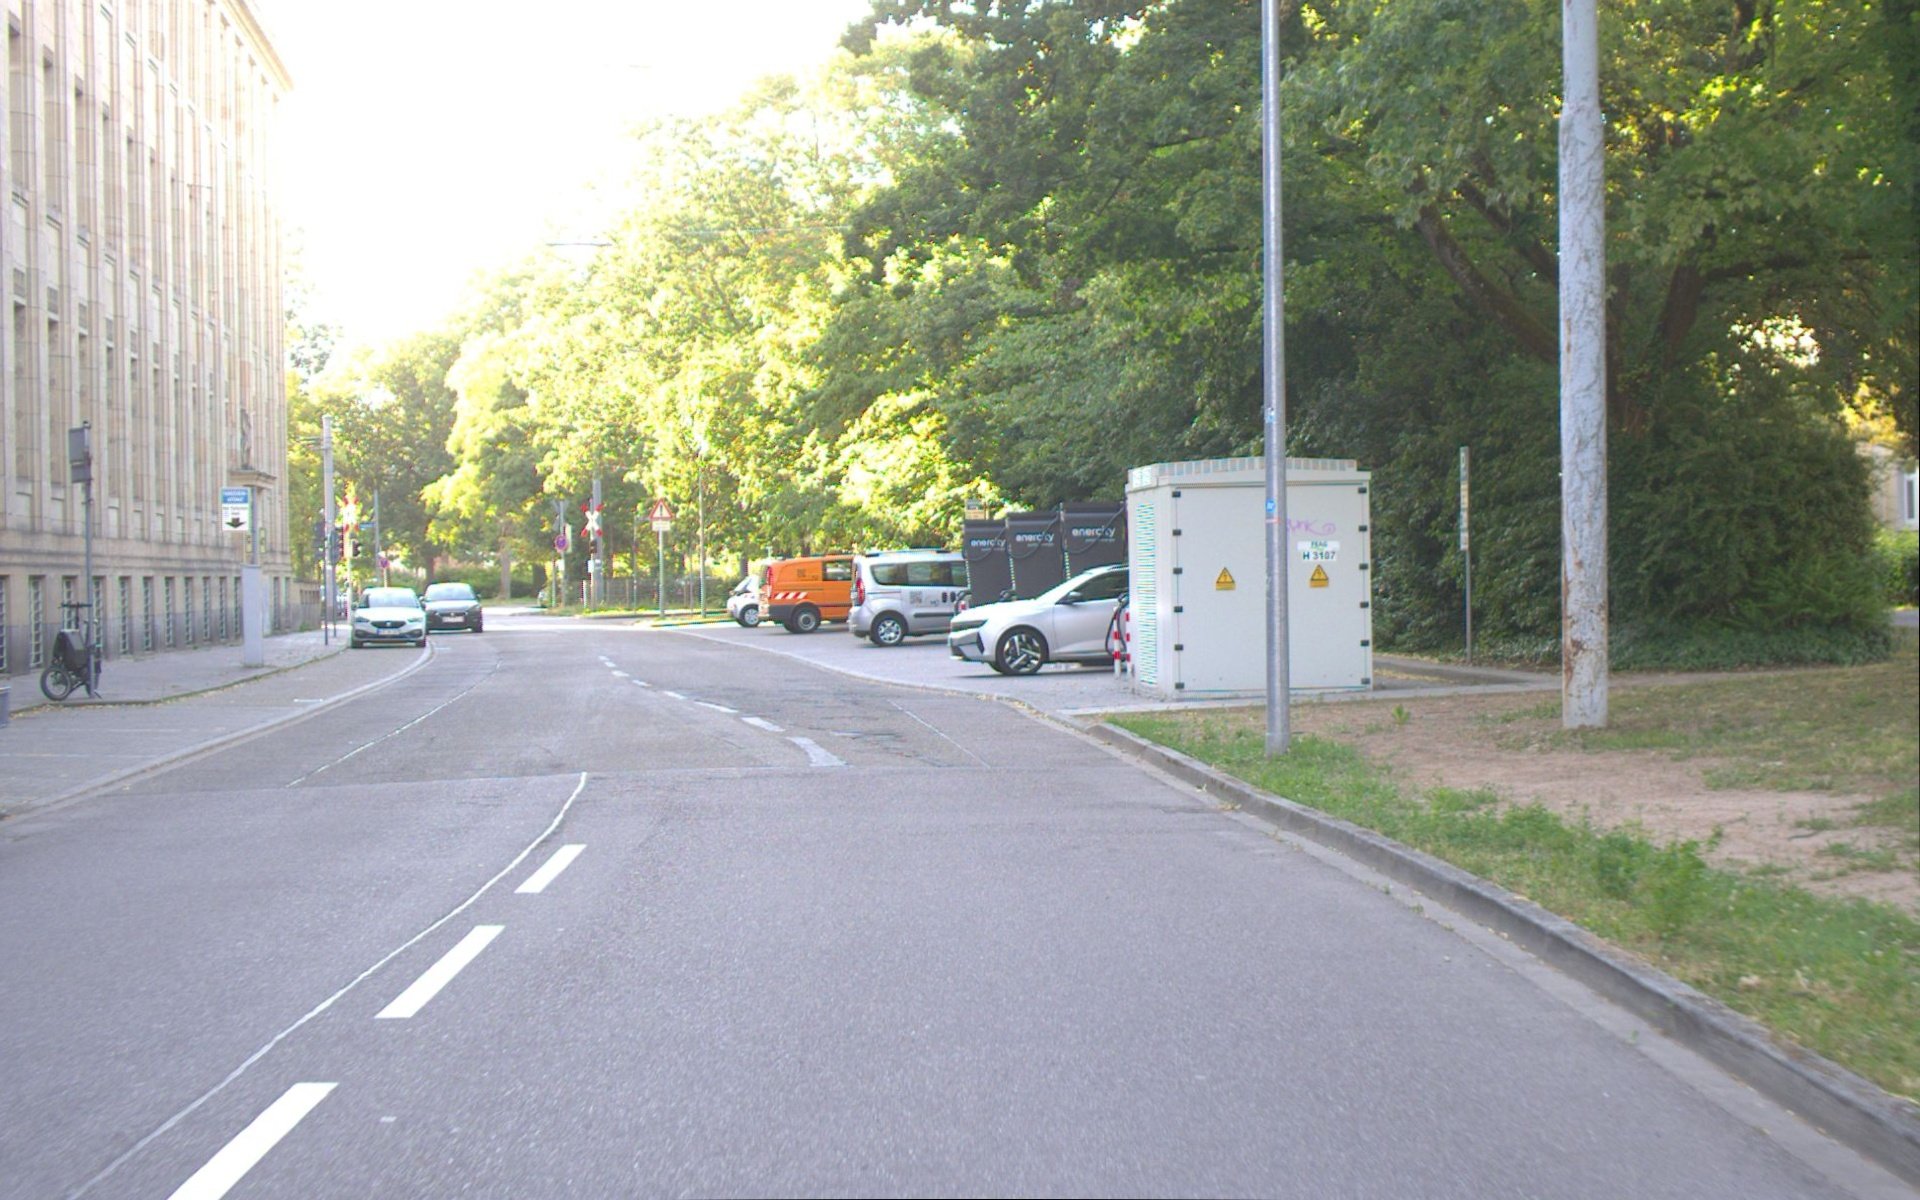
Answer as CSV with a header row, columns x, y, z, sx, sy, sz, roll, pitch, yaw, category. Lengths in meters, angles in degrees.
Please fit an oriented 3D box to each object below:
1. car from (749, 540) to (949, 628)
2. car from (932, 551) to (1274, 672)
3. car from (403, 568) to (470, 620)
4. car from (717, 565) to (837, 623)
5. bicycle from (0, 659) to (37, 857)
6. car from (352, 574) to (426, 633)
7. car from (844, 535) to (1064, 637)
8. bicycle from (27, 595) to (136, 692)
x,y,z,sx,sy,sz,roll,pitch,yaw,category
-2.865,-0.407,88.741,4.817,2.007,1.802,-3,1,-13,car
1.941,0.148,47.477,4.440,1.464,1.783,-2,1,-7,car
-15.464,-0.205,101.450,1.878,1.461,4.374,-1,1,-9,car
-5.262,-0.189,98.825,3.143,1.498,1.541,-3,1,-13,car
-5.620,0.893,18.648,0.662,1.066,2.153,-1,1,-1,bicycle
-13.983,0.065,84.185,1.727,1.392,4.374,-1,0,-9,car
-0.147,-0.274,69.557,4.228,1.853,2.000,-3,0,-5,car
-10.436,0.502,40.896,0.852,1.098,1.982,1,0,-2,bicycle
